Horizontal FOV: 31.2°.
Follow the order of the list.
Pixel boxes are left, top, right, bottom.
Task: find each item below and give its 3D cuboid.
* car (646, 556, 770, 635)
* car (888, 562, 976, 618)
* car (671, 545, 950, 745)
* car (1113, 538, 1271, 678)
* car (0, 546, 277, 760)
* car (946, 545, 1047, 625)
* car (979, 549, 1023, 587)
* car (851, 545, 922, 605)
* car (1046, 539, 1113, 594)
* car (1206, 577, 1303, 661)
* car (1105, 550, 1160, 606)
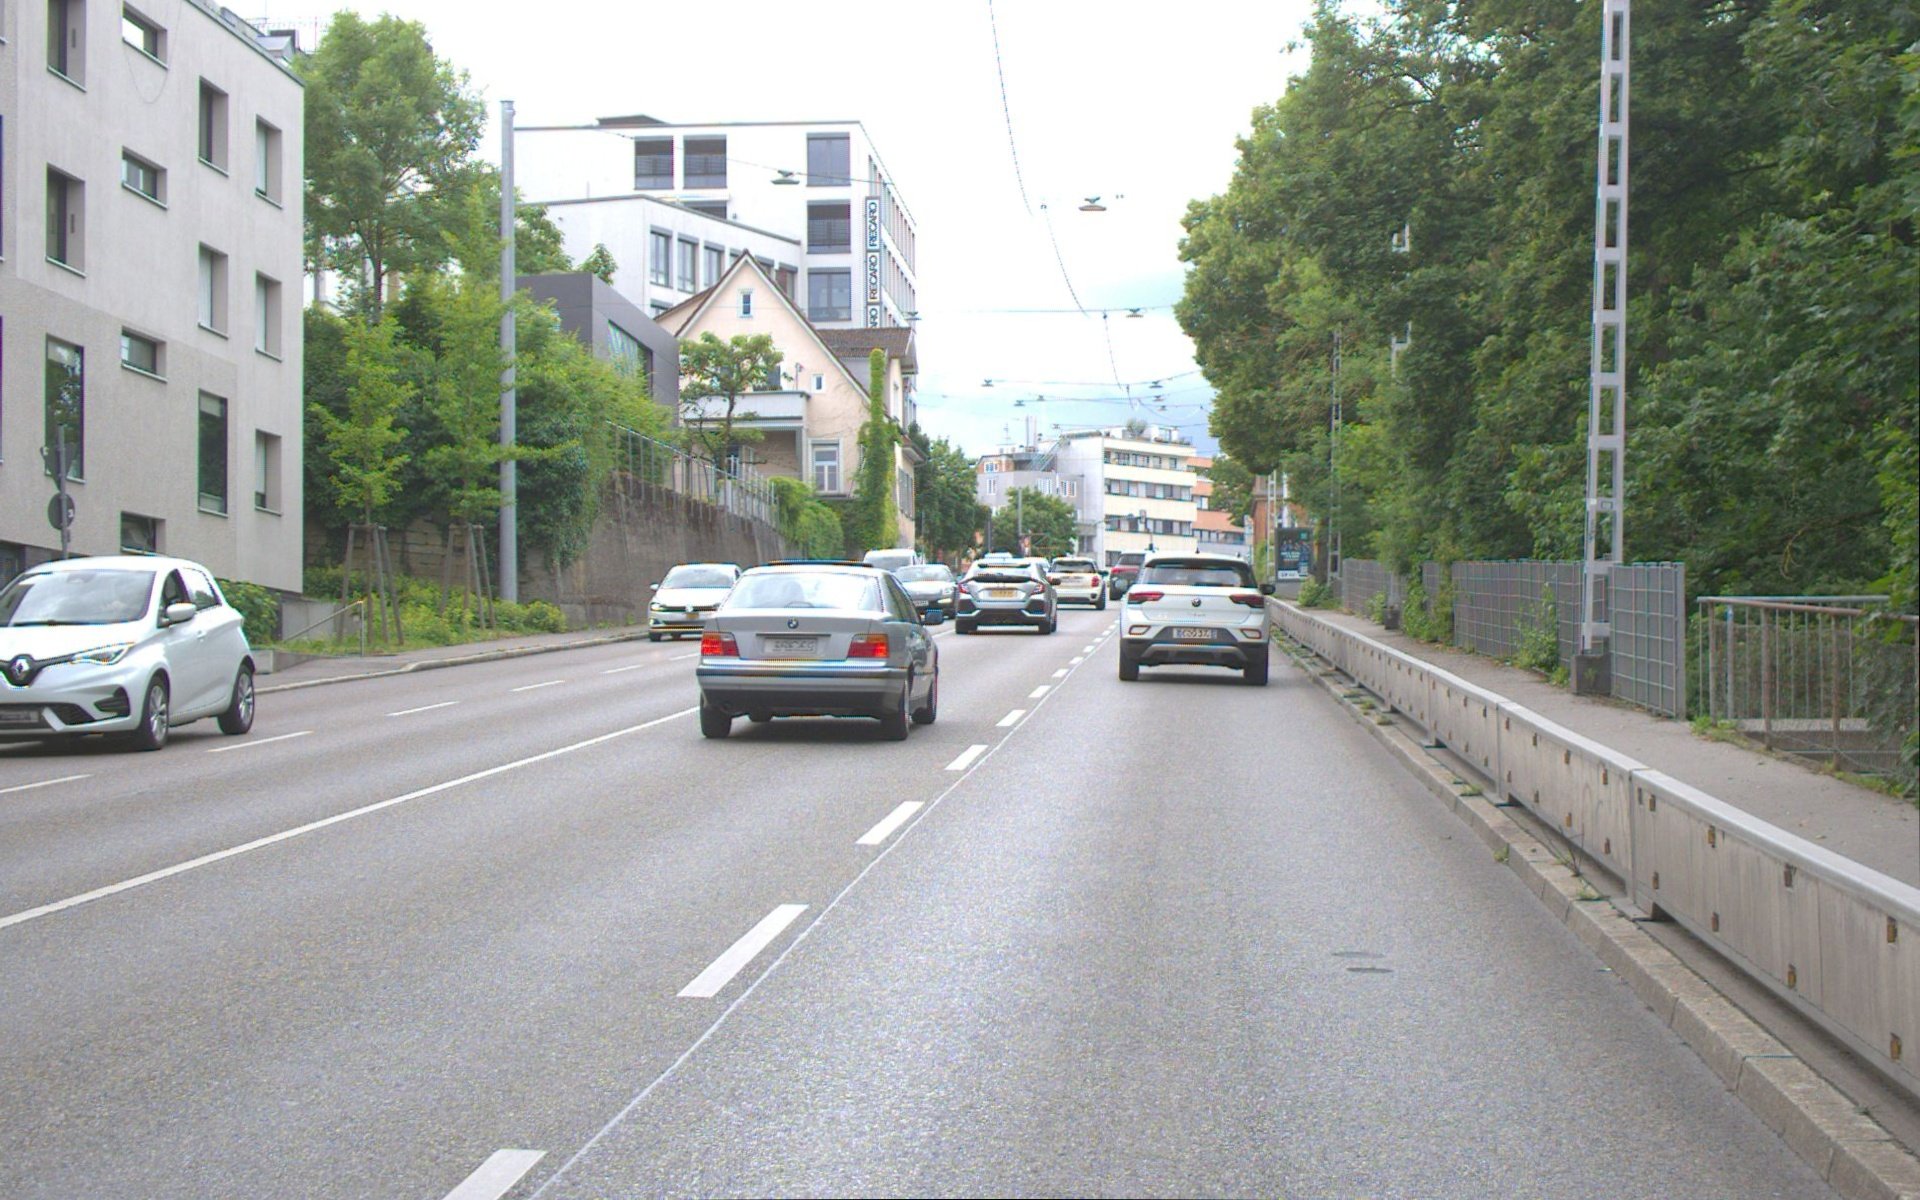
[{"bbox_3d":[-4.812,-0.112,66.136,1.773,1.459,4.191,-1,1,4],"label":"car"},{"bbox_3d":[-0.643,-0.259,81.574,1.753,1.264,4.191,-1,1,4],"label":"car"},{"bbox_3d":[-1.133,0.343,27.850,1.707,1.459,3.999,2,0,5],"label":"car"},{"bbox_3d":[2.776,0.073,41.627,1.780,1.573,4.000,1,1,3],"label":"car"},{"bbox_3d":[-7.113,0.388,28.462,1.744,1.608,4.055,-2,1,5],"label":"car"},{"bbox_3d":[0.724,-0.306,65.477,1.706,1.459,4.000,0,1,4],"label":"car"},{"bbox_3d":[1.997,-1.566,166.542,1.817,1.778,4.494,2,1,4],"label":"car"},{"bbox_3d":[-2.250,-0.775,106.267,1.733,1.782,4.866,-1,1,4],"label":"car"},{"bbox_3d":[3.294,-0.934,94.057,1.706,1.459,4.000,0,1,4],"label":"car"},{"bbox_3d":[5.605,0.353,65.843,1.706,1.459,3.999,3,0,4],"label":"car"},{"bbox_3d":[5.646,-0.726,112.067,1.657,1.759,3.286,1,1,4],"label":"car"}]
